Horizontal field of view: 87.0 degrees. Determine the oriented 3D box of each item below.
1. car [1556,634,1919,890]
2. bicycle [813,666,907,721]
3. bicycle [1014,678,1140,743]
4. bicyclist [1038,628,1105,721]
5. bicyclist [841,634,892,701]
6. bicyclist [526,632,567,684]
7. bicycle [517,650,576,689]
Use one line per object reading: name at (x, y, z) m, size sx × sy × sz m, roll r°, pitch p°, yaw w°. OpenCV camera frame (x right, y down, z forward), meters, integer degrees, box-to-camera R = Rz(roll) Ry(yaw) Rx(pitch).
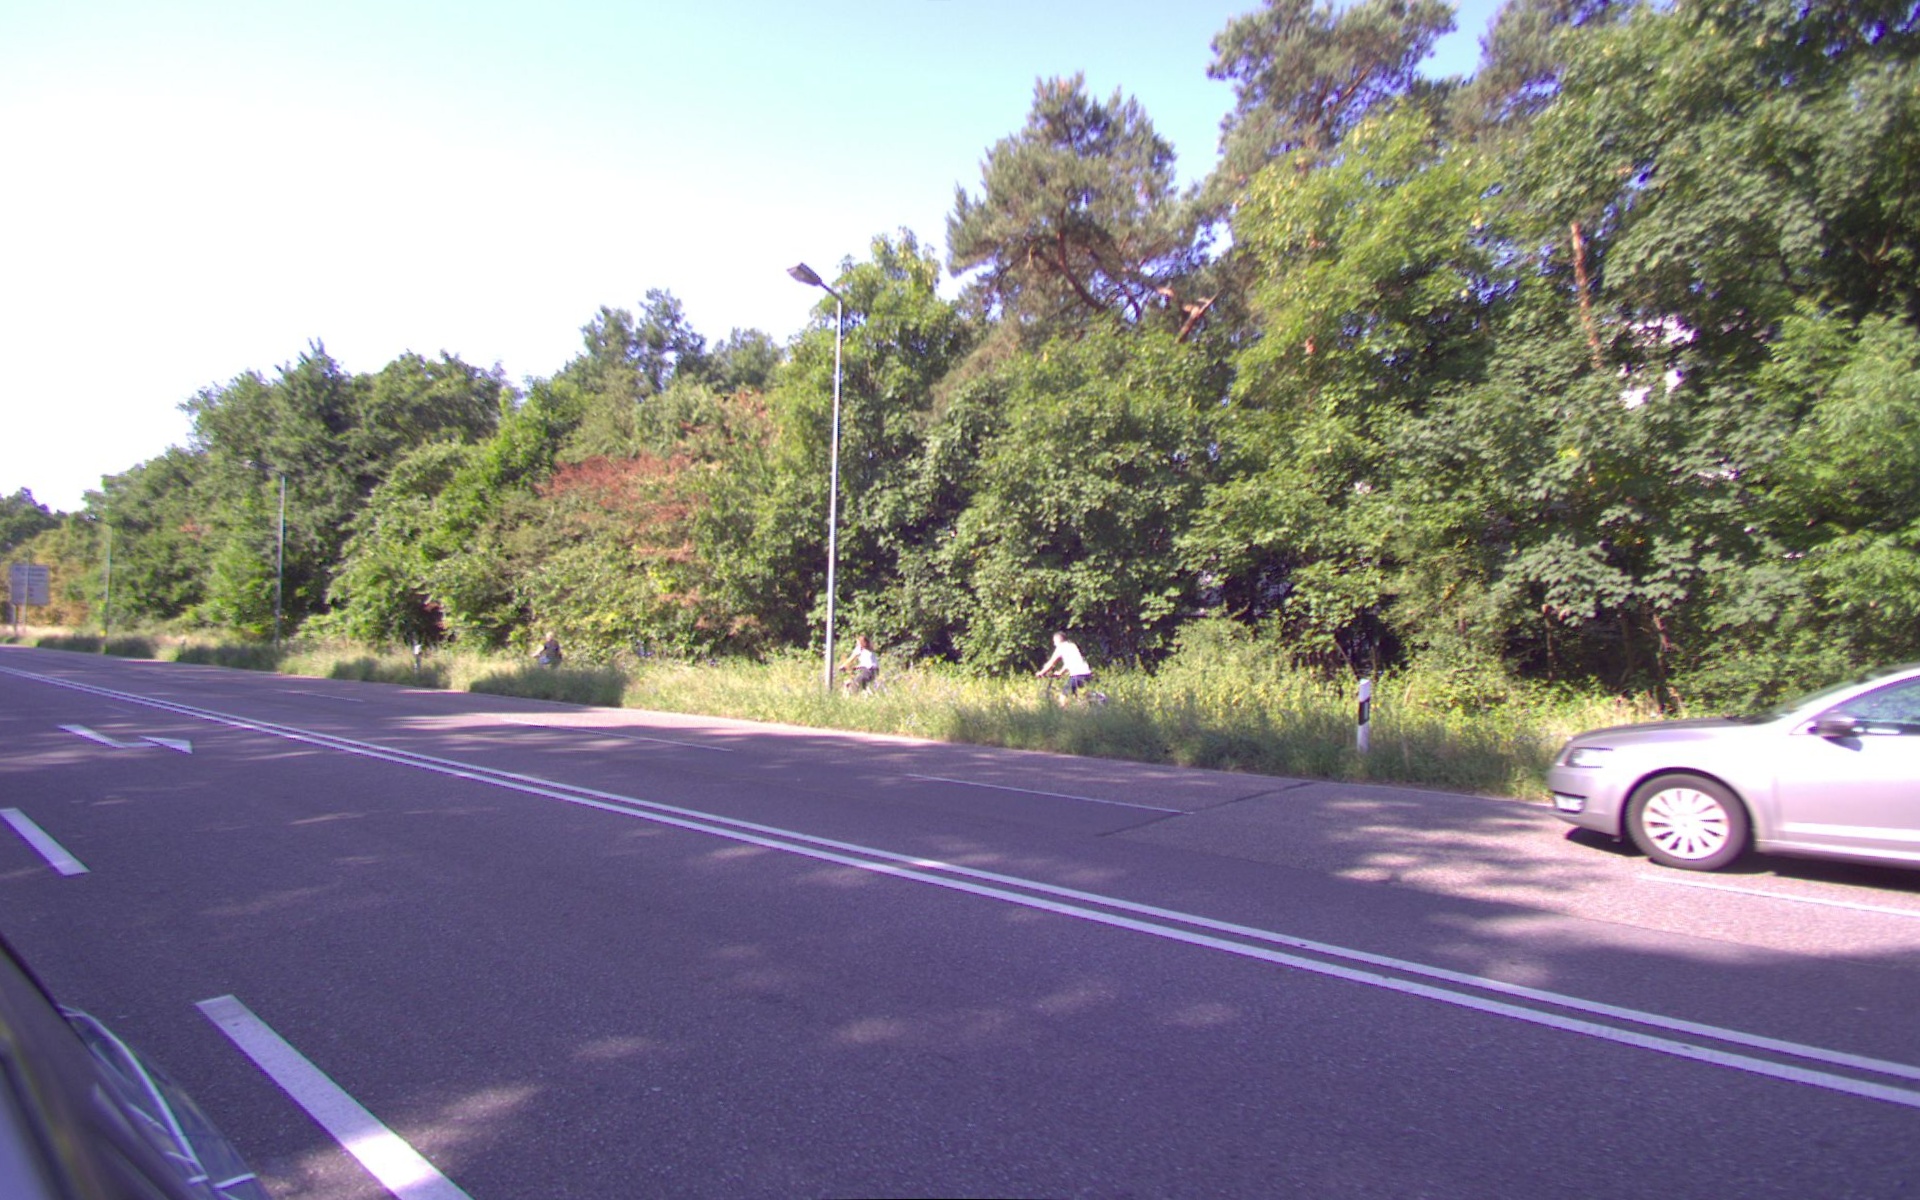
car at (6.304, 0.950, 6.109) m, size 4.457 × 1.444 × 1.685 m, roll -1°, pitch -4°, yaw 40°
bicycle at (-2.020, 1.841, 20.203) m, size 2.138 × 0.965 × 0.597 m, roll -1°, pitch -3°, yaw 42°
bicycle at (1.907, 1.807, 16.808) m, size 2.138 × 0.921 × 0.597 m, roll -1°, pitch -3°, yaw 42°
bicyclist at (1.855, 1.219, 16.847) m, size 0.944 × 1.477 × 0.604 m, roll -1°, pitch 0°, yaw 42°
bicyclist at (-1.854, 1.321, 20.032) m, size 0.727 × 1.273 × 0.693 m, roll -1°, pitch 0°, yaw 42°
bicyclist at (-11.358, 1.576, 27.802) m, size 0.974 × 1.352 × 0.668 m, roll 0°, pitch 0°, yaw 38°
bicycle at (-11.375, 1.890, 27.815) m, size 1.911 × 0.963 × 0.668 m, roll 0°, pitch 0°, yaw 38°
